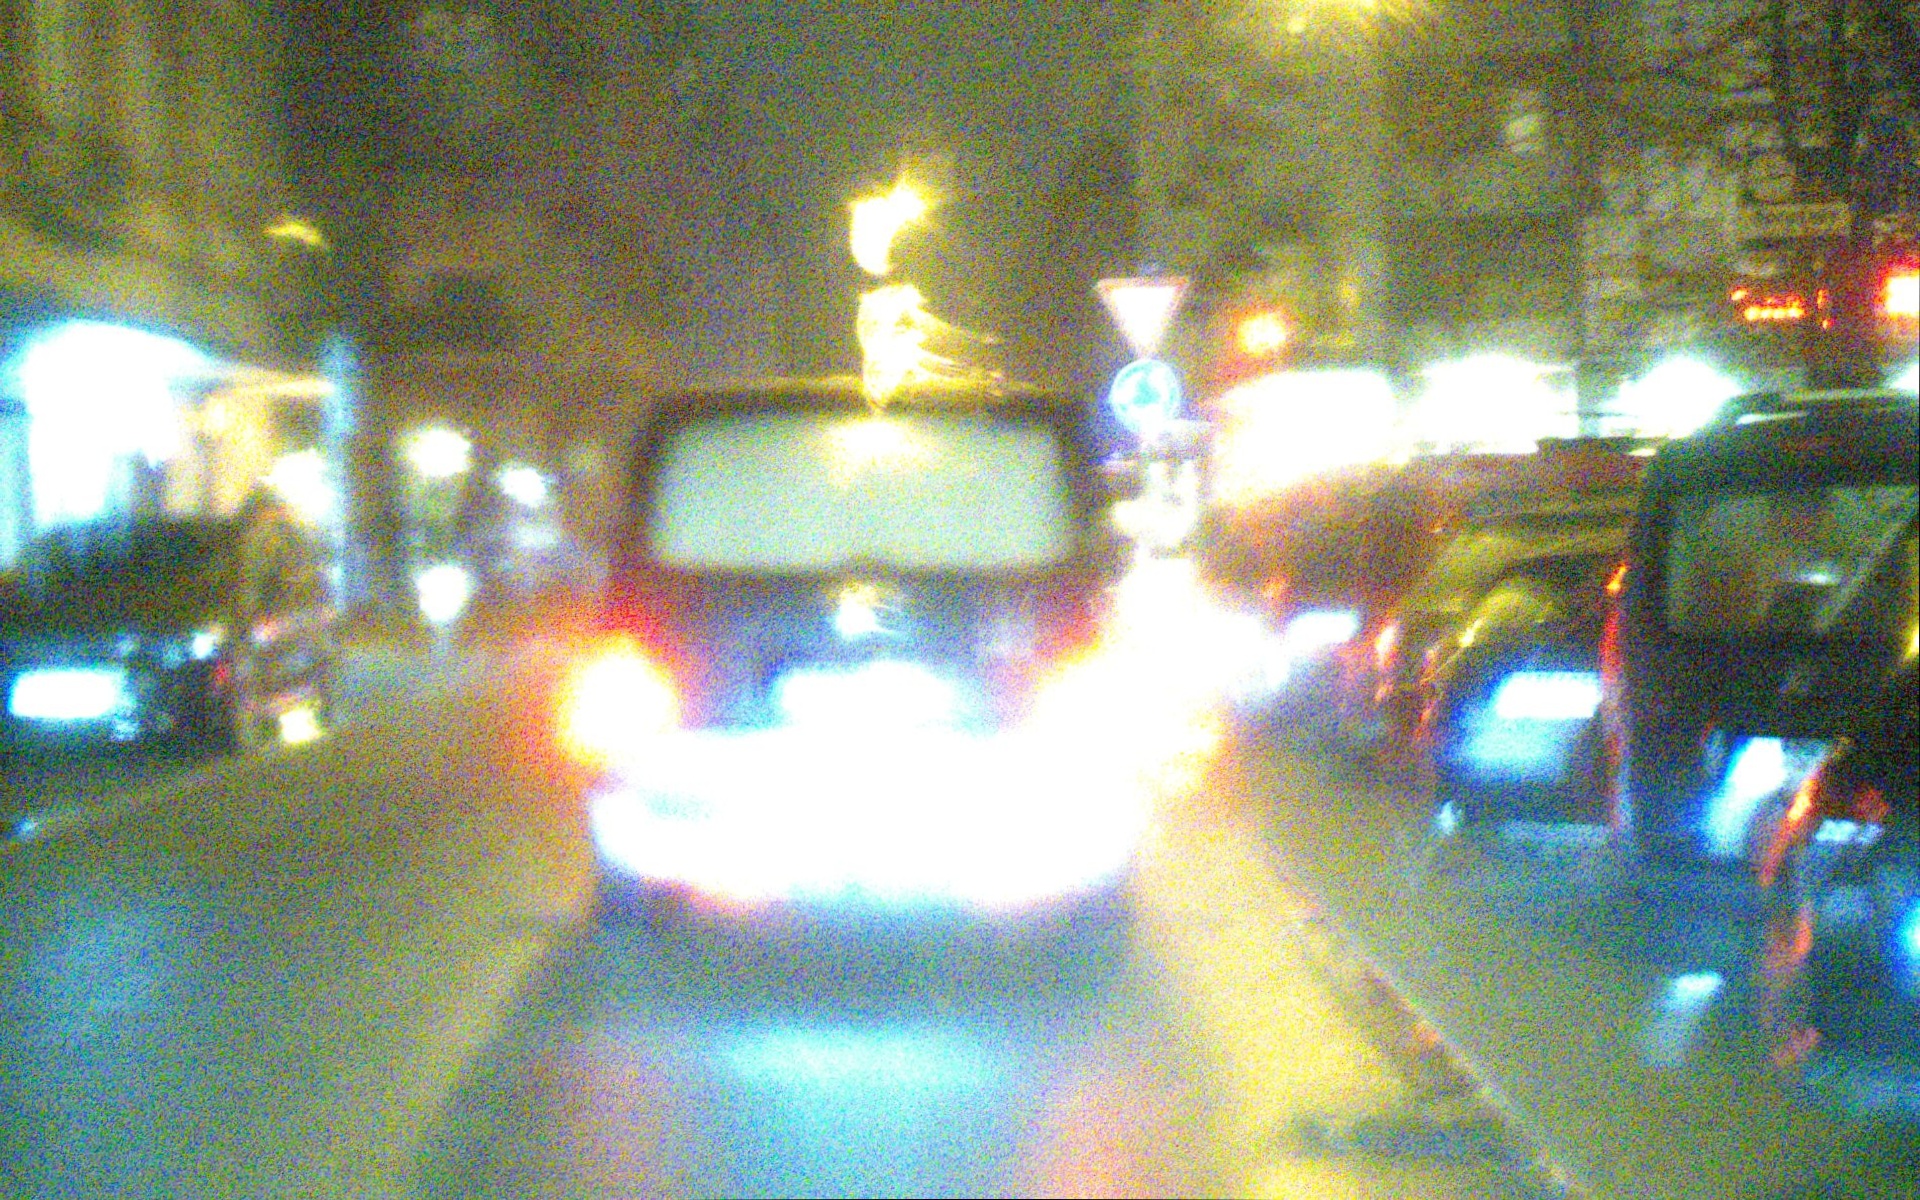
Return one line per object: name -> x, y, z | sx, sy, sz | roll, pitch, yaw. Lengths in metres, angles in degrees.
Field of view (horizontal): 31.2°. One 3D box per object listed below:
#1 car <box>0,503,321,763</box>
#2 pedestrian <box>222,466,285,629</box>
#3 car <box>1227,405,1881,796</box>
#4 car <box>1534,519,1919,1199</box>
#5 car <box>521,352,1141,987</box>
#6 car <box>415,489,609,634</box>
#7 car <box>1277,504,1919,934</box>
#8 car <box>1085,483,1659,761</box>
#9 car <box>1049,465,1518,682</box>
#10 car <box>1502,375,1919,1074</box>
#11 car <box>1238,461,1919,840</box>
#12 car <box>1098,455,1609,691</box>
car -> -5.351, 0.145, 22.621 | 1.812, 1.552, 4.077 | 0, 1, -4
pedestrian -> -8.304, -0.615, 40.424 | 0.660, 1.897, 0.539 | 0, 1, -5
car -> 3.425, -0.051, 19.571 | 3.555, 1.984, 1.605 | -3, 2, -37
car -> 3.228, 0.518, 7.885 | 3.555, 1.479, 1.726 | -3, 2, -36
car -> -0.438, 0.198, 13.077 | 1.993, 2.043, 4.000 | 0, 1, -1
car -> -5.438, -0.504, 42.127 | 1.883, 1.679, 4.000 | 0, 1, -1
car -> 3.201, 0.376, 13.851 | 3.555, 1.448, 1.672 | -3, 2, -35
car -> 2.731, 0.103, 22.499 | 3.555, 1.585, 1.605 | -3, 2, -37
car -> 2.970, -0.295, 31.232 | 3.988, 1.755, 1.880 | -3, 3, -37
car -> 3.643, 0.243, 10.579 | 3.739, 1.834, 1.726 | -3, 2, -37
car -> 3.558, 0.164, 17.291 | 3.988, 1.582, 1.880 | -4, 3, -36
car -> 3.293, -0.281, 28.471 | 3.988, 1.755, 1.880 | -3, 3, -37
